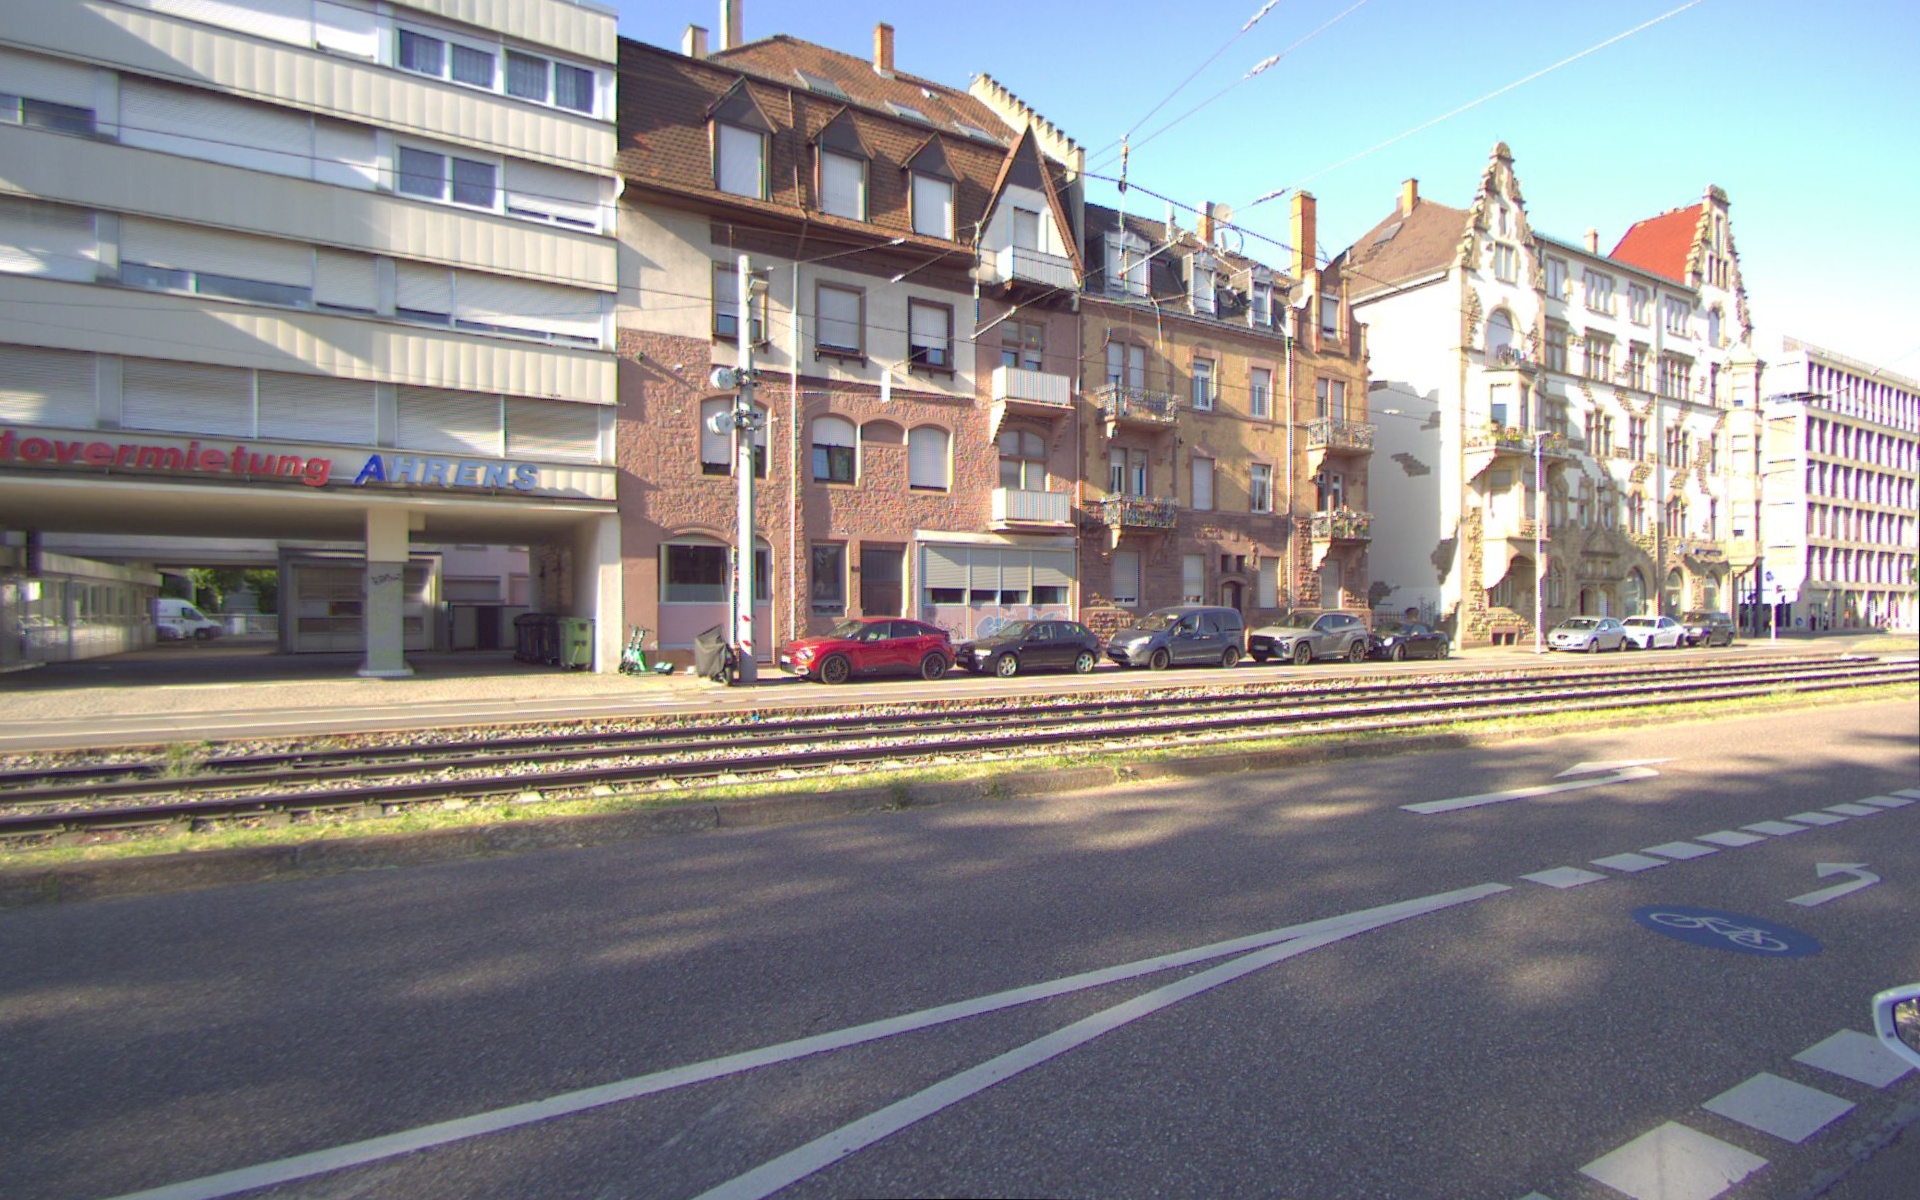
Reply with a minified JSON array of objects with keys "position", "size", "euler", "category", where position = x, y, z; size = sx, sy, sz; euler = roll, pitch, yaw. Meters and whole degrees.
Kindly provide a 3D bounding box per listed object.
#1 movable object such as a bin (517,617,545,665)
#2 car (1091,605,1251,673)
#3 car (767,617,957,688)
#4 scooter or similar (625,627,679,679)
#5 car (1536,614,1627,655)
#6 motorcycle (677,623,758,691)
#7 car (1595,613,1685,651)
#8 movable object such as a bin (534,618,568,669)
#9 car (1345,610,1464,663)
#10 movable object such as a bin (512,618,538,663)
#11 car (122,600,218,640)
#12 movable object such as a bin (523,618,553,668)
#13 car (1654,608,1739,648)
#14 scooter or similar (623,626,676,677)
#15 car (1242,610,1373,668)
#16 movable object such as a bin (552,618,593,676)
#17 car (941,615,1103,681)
[{"position":[-12.913,1.216,30.190],"size":[0.628,1.389,1.261],"euler":[0,-1,-30],"category":"movable object such as a bin"},{"position":[6.163,1.097,29.247],"size":[4.399,1.777,1.787],"euler":[0,2,-28],"category":"car"},{"position":[-2.334,1.201,24.313],"size":[4.218,1.479,1.784],"euler":[0,2,-32],"category":"car"},{"position":[-7.504,1.289,24.477],"size":[1.186,1.222,0.389],"euler":[1,2,-30],"category":"scooter or similar"},{"position":[25.726,1.389,41.536],"size":[3.960,1.531,1.782],"euler":[0,3,-36],"category":"car"},{"position":[-5.506,1.248,22.737],"size":[2.046,1.345,0.835],"euler":[3,3,44],"category":"motorcycle"},{"position":[30.216,1.381,44.603],"size":[4.138,1.531,1.784],"euler":[0,2,-32],"category":"car"},{"position":[-11.359,1.195,27.890],"size":[0.628,1.389,1.259],"euler":[0,-1,-34],"category":"movable object such as a bin"},{"position":[15.507,1.225,35.018],"size":[4.151,1.674,1.677],"euler":[0,2,-31],"category":"car"},{"position":[-13.580,1.250,31.347],"size":[0.628,1.389,1.261],"euler":[0,-1,-30],"category":"movable object such as a bin"},{"position":[-47.230,1.199,60.199],"size":[4.294,2.322,1.848],"euler":[1,1,-32],"category":"car"},{"position":[-12.166,1.217,28.953],"size":[0.628,1.389,1.261],"euler":[0,-1,-30],"category":"movable object such as a bin"},{"position":[34.873,1.275,47.545],"size":[4.138,1.742,1.784],"euler":[0,2,-32],"category":"car"},{"position":[-7.722,1.272,25.002],"size":[1.186,1.222,0.389],"euler":[1,2,-30],"category":"scooter or similar"},{"position":[11.173,1.193,32.270],"size":[4.151,1.674,1.677],"euler":[0,2,-31],"category":"car"},{"position":[-9.824,1.167,25.454],"size":[0.629,1.390,1.401],"euler":[0,0,-37],"category":"movable object such as a bin"},{"position":[1.660,1.204,26.584],"size":[3.954,1.531,1.785],"euler":[0,2,-31],"category":"car"}]
